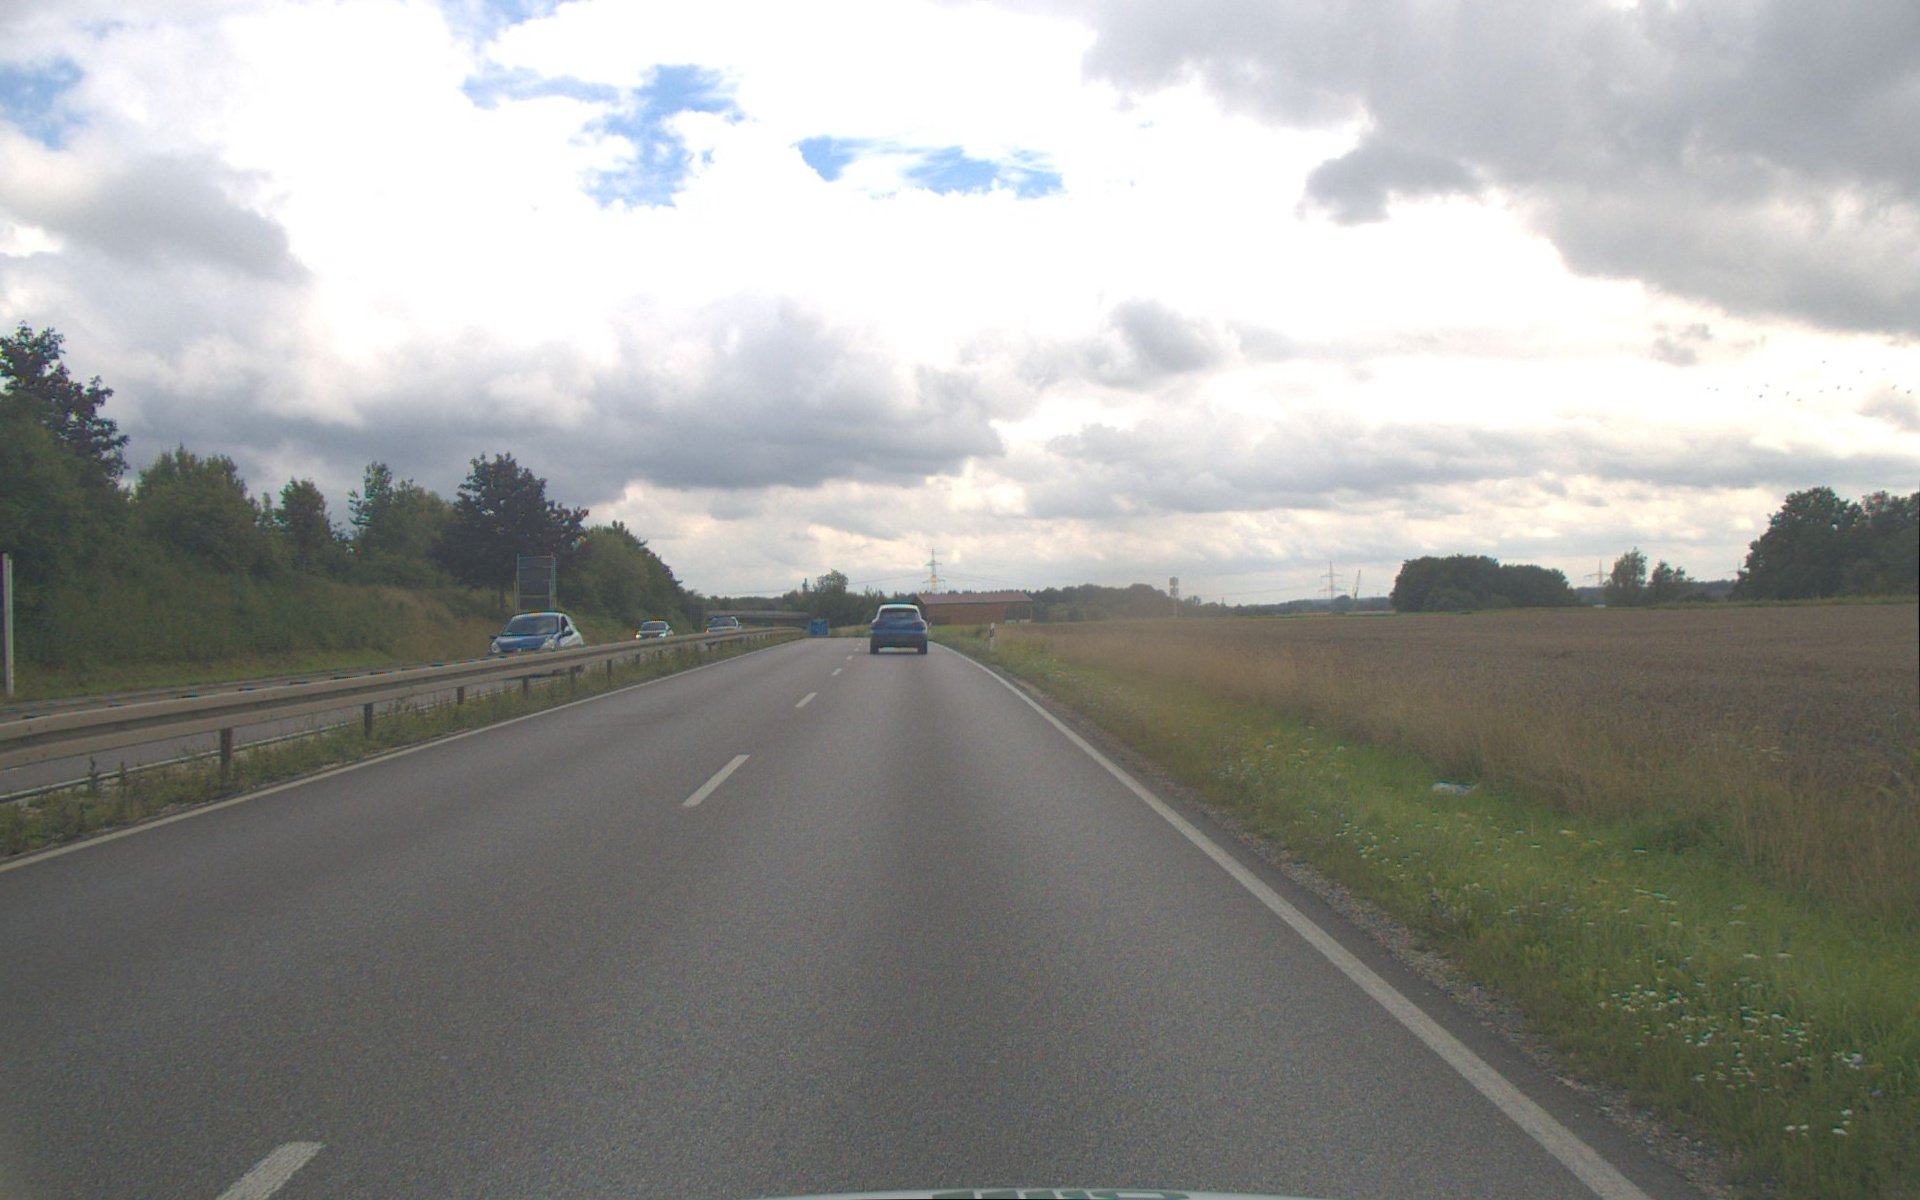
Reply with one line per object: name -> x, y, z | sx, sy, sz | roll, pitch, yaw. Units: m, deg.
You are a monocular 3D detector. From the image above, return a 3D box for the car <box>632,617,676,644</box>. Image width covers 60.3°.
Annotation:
car -> -16.523, 1.627, 89.489 | 1.657, 1.347, 4.415 | -1, 0, -2

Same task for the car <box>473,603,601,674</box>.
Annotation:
car -> -10.161, 0.886, 40.058 | 2.043, 1.545, 4.192 | -1, 0, -1

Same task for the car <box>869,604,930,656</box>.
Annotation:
car -> -2.042, 0.990, 55.930 | 1.992, 1.689, 4.541 | 0, 0, -2

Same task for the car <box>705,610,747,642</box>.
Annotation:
car -> -12.365, 1.347, 87.589 | 1.719, 1.512, 4.575 | -1, 0, -2
